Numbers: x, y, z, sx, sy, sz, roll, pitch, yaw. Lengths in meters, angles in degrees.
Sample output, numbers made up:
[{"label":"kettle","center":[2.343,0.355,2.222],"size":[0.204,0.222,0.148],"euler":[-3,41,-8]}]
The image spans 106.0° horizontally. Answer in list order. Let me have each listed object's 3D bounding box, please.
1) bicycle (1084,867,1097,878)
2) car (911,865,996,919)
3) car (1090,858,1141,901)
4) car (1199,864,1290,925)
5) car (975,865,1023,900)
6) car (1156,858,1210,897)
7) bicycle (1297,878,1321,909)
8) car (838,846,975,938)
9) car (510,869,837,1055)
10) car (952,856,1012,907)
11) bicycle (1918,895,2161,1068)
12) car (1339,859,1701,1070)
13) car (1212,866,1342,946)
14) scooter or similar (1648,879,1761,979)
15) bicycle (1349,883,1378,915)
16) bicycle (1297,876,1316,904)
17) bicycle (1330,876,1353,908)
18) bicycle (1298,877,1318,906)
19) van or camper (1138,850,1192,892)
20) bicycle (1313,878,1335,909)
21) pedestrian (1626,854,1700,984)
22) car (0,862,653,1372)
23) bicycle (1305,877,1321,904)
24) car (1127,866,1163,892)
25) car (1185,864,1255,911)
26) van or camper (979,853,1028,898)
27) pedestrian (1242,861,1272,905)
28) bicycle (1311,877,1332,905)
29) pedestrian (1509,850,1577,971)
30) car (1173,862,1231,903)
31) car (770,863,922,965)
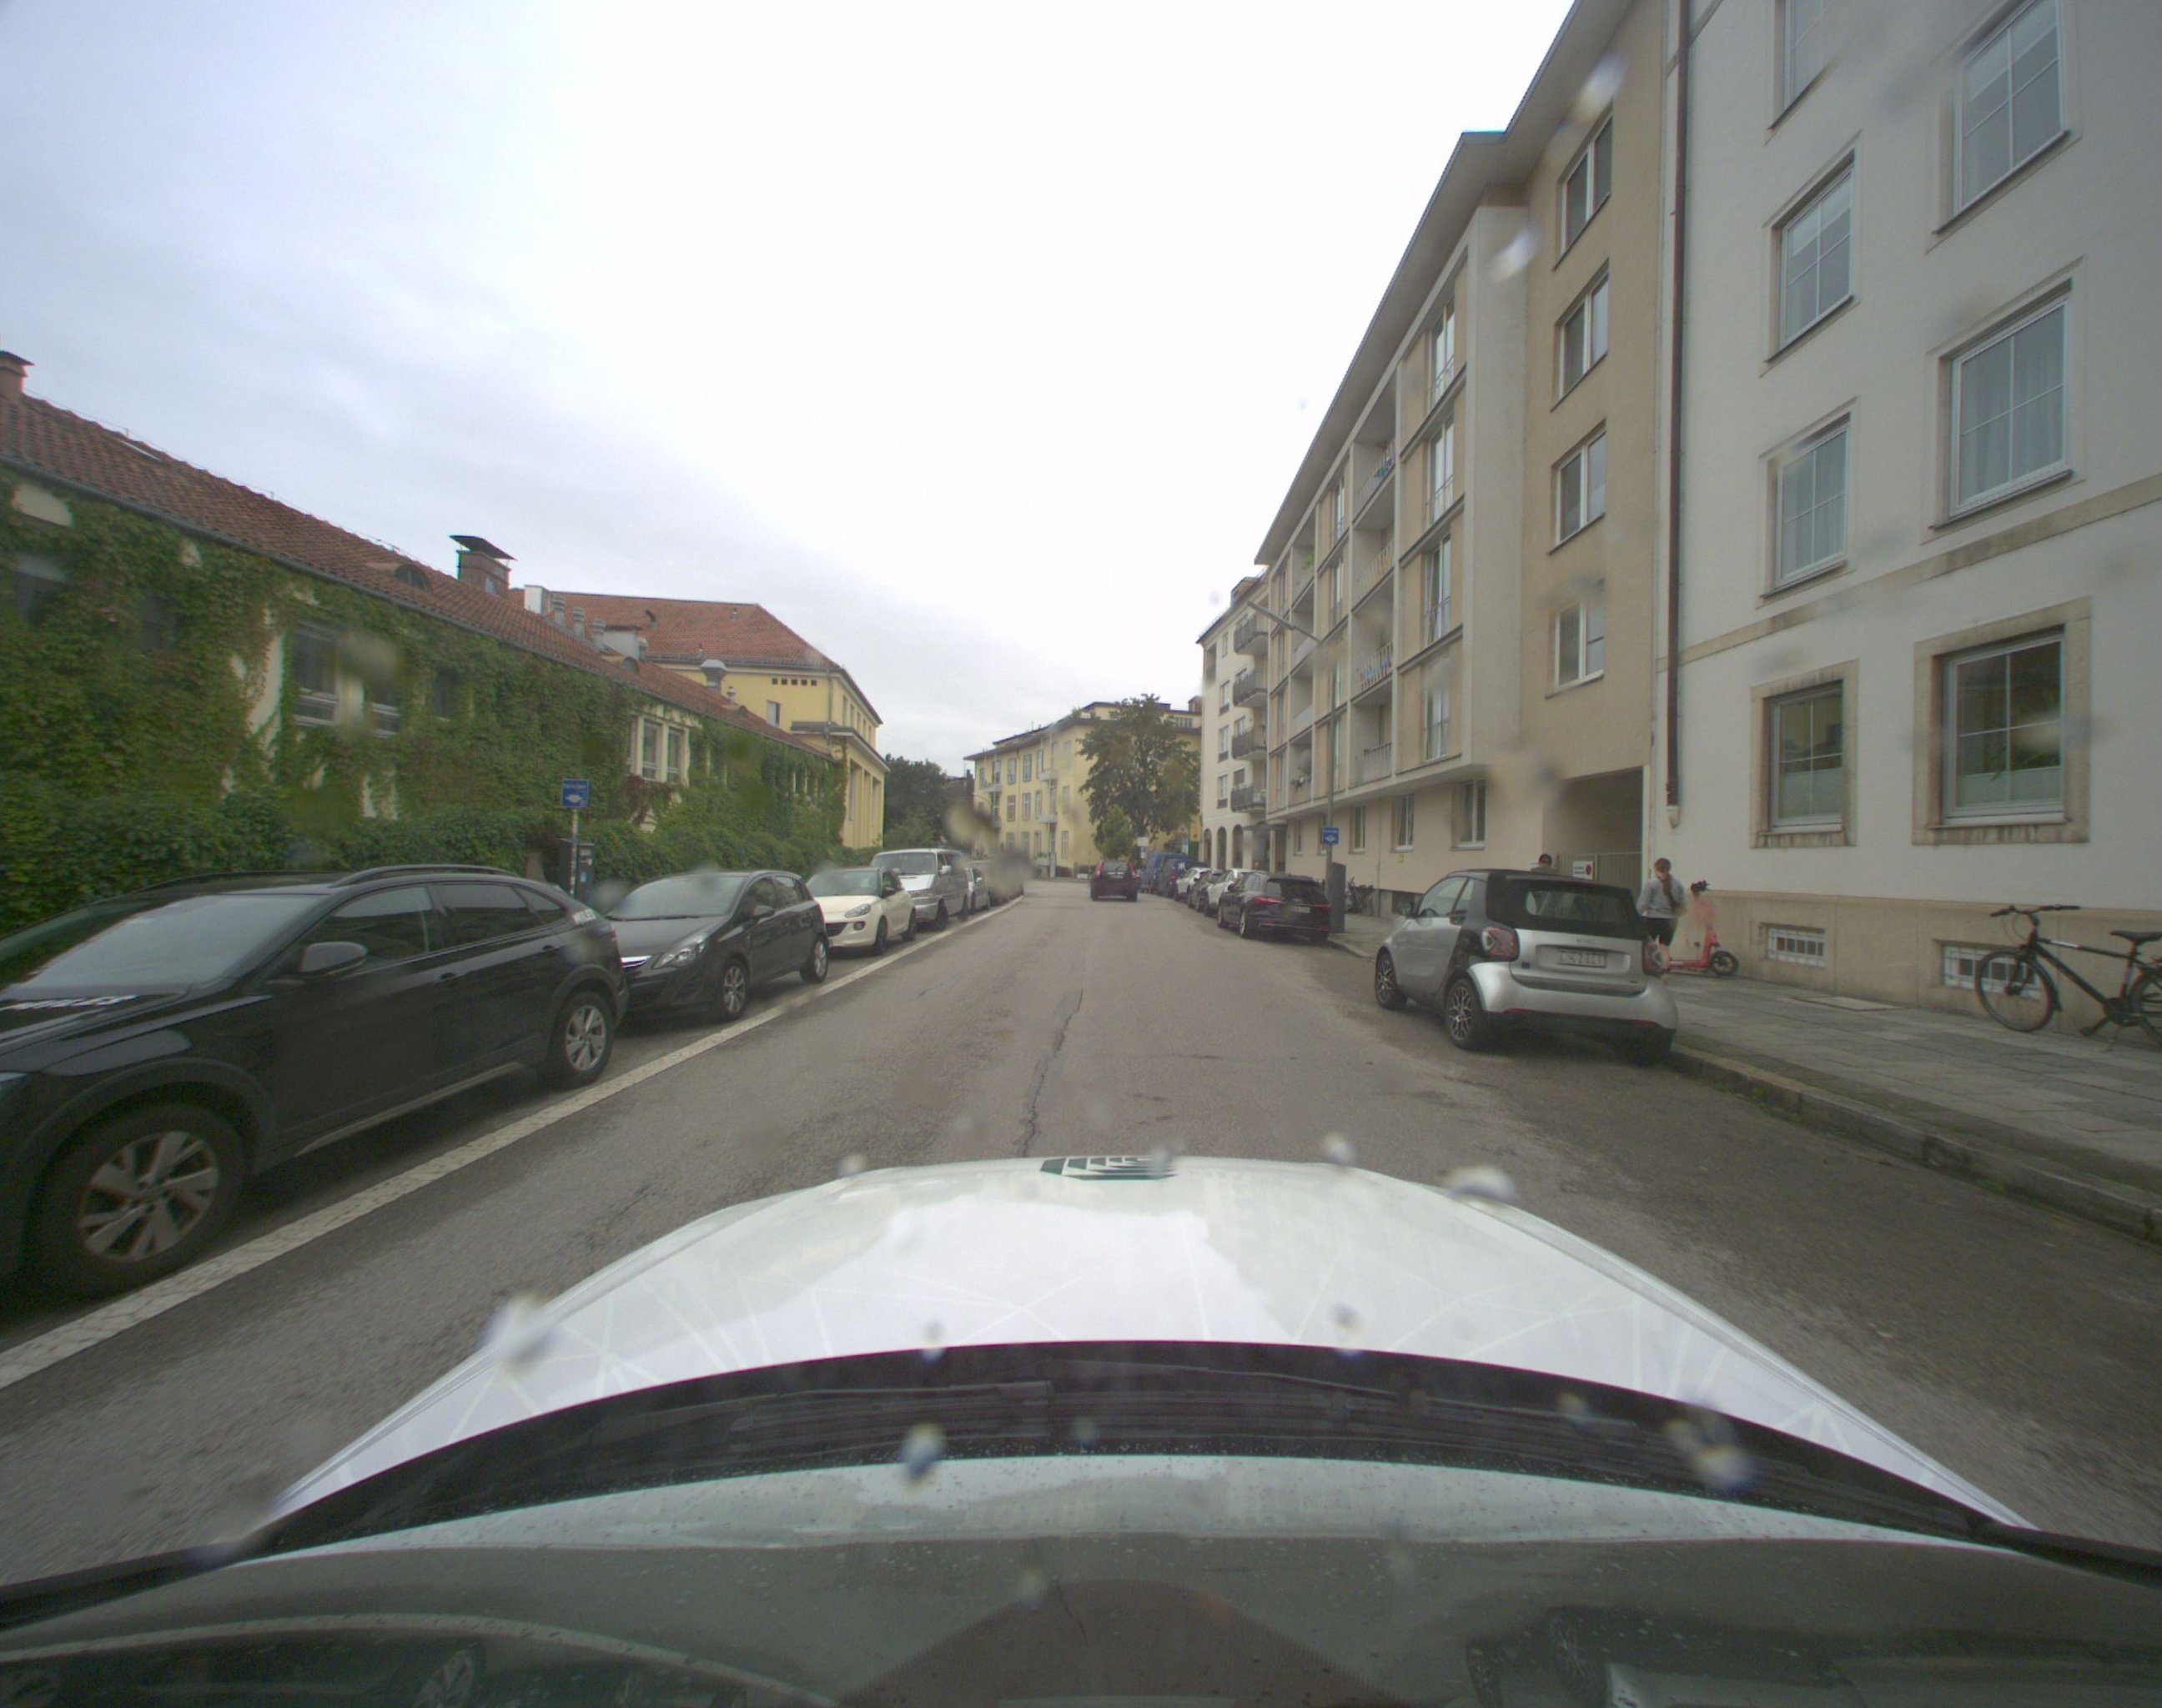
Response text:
[{"label":"bicycle","center":[0.975,1.946,85.307],"size":[0.610,1.072,2.201],"euler":[1,0,-22]},{"label":"car","center":[-3.830,1.101,25.256],"size":[1.694,1.423,4.427],"euler":[-2,-1,2]},{"label":"car","center":[1.479,1.004,33.870],"size":[1.987,1.694,4.384],"euler":[0,0,3]},{"label":"car","center":[4.619,1.098,23.593],"size":[1.733,1.499,4.218],"euler":[3,0,0]},{"label":"car","center":[-3.510,1.181,35.611],"size":[1.614,1.378,4.072],"euler":[-1,0,0]},{"label":"car","center":[4.886,1.087,39.756],"size":[1.958,1.816,4.934],"euler":[0,0,-1]},{"label":"bicycle","center":[7.942,1.357,28.369],"size":[0.481,1.024,1.402],"euler":[0,-1,1]},{"label":"car","center":[-3.986,0.820,19.519],"size":[1.985,1.875,4.761],"euler":[-2,-1,2]},{"label":"car","center":[-4.067,0.958,8.918],"size":[1.573,1.455,3.903],"euler":[-2,0,0]},{"label":"car","center":[-3.623,0.975,30.379],"size":[1.614,1.730,4.424],"euler":[-1,0,0]},{"label":"bicycle","center":[8.099,0.955,6.565],"size":[0.656,1.163,2.029],"euler":[0,0,2]},{"label":"car","center":[4.071,0.879,8.354],"size":[1.665,1.535,3.883],"euler":[4,0,2]},{"label":"car","center":[4.244,1.070,18.406],"size":[1.790,1.420,4.482],"euler":[4,0,0]},{"label":"scooter or similar","center":[8.342,0.989,10.946],"size":[0.598,1.253,1.036],"euler":[0,-4,-7]},{"label":"bicycle","center":[8.739,1.380,25.265],"size":[0.443,0.936,1.402],"euler":[0,-1,1]},{"label":"bicycle","center":[8.695,1.367,31.396],"size":[0.388,1.024,1.402],"euler":[0,-1,2]},{"label":"bicycle","center":[8.894,1.285,27.830],"size":[0.388,1.024,1.402],"euler":[0,-1,2]},{"label":"bicycle","center":[8.322,1.371,29.905],"size":[0.388,1.024,1.402],"euler":[0,-1,2]},{"label":"van or camper","center":[4.617,0.911,45.605],"size":[2.056,2.231,5.430],"euler":[0,0,-4]},{"label":"bicycle","center":[8.449,1.365,28.350],"size":[0.388,1.024,1.402],"euler":[0,-1,2]},{"label":"pedestrian","center":[7.299,0.797,10.231],"size":[0.529,1.585,0.560],"euler":[0,-1,2]},{"label":"car","center":[-4.244,0.863,4.251],"size":[1.776,1.538,4.148],"euler":[-2,0,0]},{"label":"bicycle","center":[9.116,1.418,31.996],"size":[0.372,1.024,1.002],"euler":[0,-1,1]},{"label":"car","center":[3.972,1.530,51.318],"size":[1.700,1.518,3.953],"euler":[-1,0,-4]},{"label":"car","center":[4.766,1.104,28.511],"size":[1.733,1.499,4.494],"euler":[0,0,0]},{"label":"van or camper","center":[-3.794,1.047,40.624],"size":[1.955,2.065,4.752],"euler":[-1,0,-1]},{"label":"pedestrian","center":[6.975,1.125,32.332],"size":[0.895,1.688,1.319],"euler":[0,-1,0]},{"label":"bicycle","center":[9.083,1.378,30.781],"size":[0.388,1.024,1.402],"euler":[0,-1,2]},{"label":"pedestrian","center":[6.482,0.773,11.445],"size":[0.594,1.654,0.631],"euler":[0,-1,2]},{"label":"car","center":[4.997,1.140,34.128],"size":[1.734,1.537,4.271],"euler":[0,0,-1]},{"label":"car","center":[-3.983,0.949,14.424],"size":[1.573,1.492,3.729],"euler":[-2,0,0]}]
